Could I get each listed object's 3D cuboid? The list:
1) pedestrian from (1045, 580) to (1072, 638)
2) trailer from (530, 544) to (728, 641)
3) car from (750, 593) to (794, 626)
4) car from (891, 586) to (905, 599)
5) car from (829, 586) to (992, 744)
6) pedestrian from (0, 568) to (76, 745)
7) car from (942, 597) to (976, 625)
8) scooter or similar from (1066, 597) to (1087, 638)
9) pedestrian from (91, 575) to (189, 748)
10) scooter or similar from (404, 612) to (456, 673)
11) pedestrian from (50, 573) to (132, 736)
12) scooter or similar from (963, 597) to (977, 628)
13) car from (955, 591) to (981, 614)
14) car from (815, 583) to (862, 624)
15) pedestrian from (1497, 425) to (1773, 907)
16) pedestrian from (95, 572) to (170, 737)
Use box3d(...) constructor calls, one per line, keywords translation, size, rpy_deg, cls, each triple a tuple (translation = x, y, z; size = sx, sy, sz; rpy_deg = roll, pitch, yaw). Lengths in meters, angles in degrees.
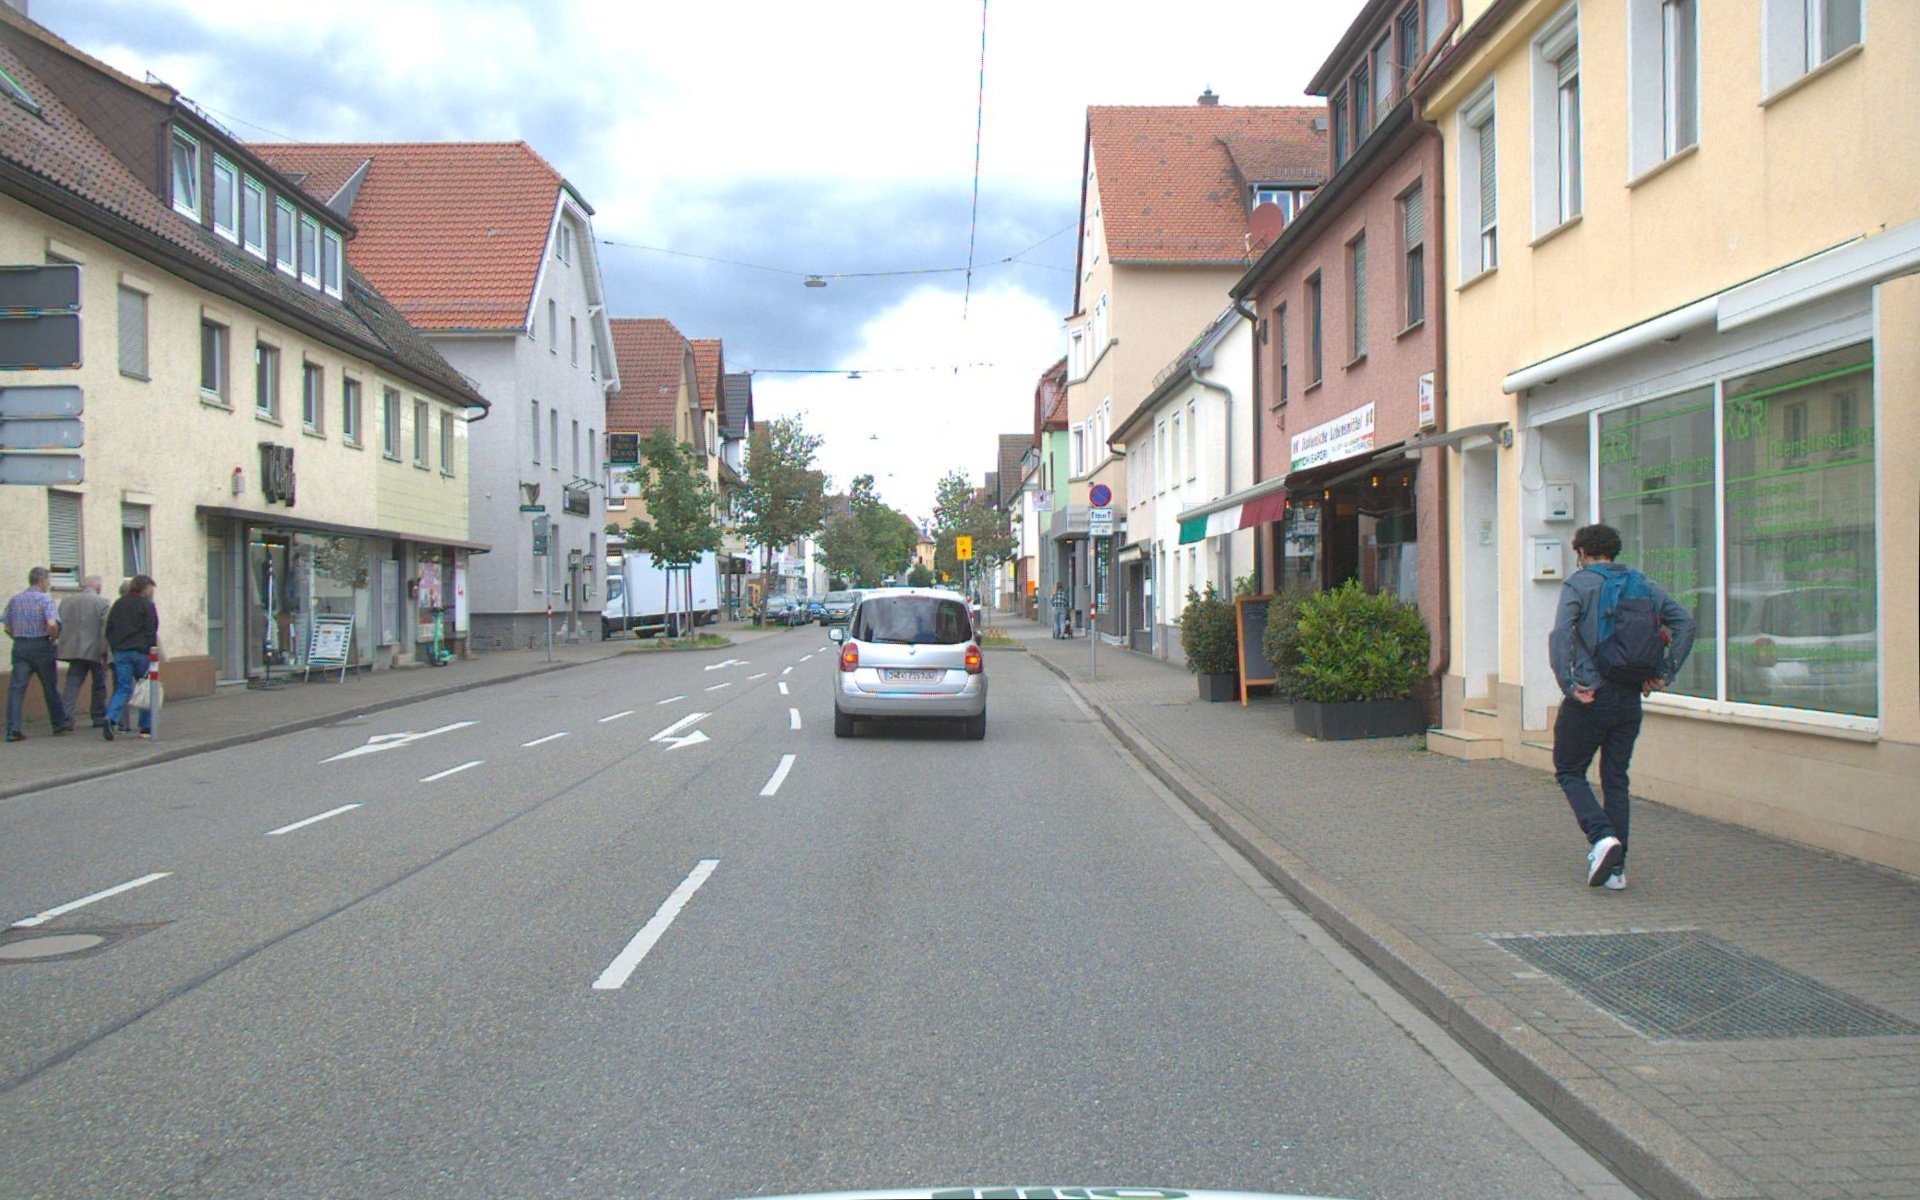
box3d(translation=(2.981, 0.266, 50.169), size=(0.735, 1.750, 0.900), rpy_deg=(0, 0, -1), cls="pedestrian")
box3d(translation=(-11.797, -0.239, 59.474), size=(2.463, 3.275, 7.102), rpy_deg=(0, 0, 38), cls="trailer")
box3d(translation=(-8.631, 0.423, 76.126), size=(1.648, 1.449, 3.930), rpy_deg=(-2, 0, -2), cls="car")
box3d(translation=(-9.148, -1.093, 244.963), size=(1.862, 1.768, 4.365), rpy_deg=(-2, 0, 0), cls="car")
box3d(translation=(-0.510, 0.658, 18.973), size=(1.648, 1.593, 3.993), rpy_deg=(1, 0, 0), cls="car")
box3d(translation=(-9.503, 0.567, 16.938), size=(0.542, 1.767, 0.648), rpy_deg=(-1, 0, -1), cls="pedestrian")
box3d(translation=(-0.037, 0.570, 89.875), size=(1.793, 1.471, 4.331), rpy_deg=(1, 0, 0), cls="car")
box3d(translation=(3.592, 0.537, 50.984), size=(0.577, 1.254, 0.891), rpy_deg=(0, 0, -2), cls="scooter or similar")
box3d(translation=(-8.619, 0.629, 17.409), size=(0.664, 1.767, 0.717), rpy_deg=(-1, 0, -1), cls="pedestrian")
box3d(translation=(-10.713, 0.839, 33.487), size=(0.517, 1.190, 1.721), rpy_deg=(0, 0, -1), cls="scooter or similar")
box3d(translation=(-9.611, 0.590, 18.308), size=(0.542, 1.767, 0.648), rpy_deg=(-1, 0, -1), cls="pedestrian")
box3d(translation=(0.401, 0.497, 66.879), size=(0.492, 1.257, 1.942), rpy_deg=(0, 0, -1), cls="scooter or similar")
box3d(translation=(0.557, 0.179, 115.312), size=(1.793, 1.524, 3.993), rpy_deg=(1, 0, 0), cls="car")
box3d(translation=(-5.763, 0.161, 78.633), size=(1.953, 1.827, 4.276), rpy_deg=(-1, 0, -1), cls="car")
box3d(translation=(3.186, 0.296, 7.912), size=(0.807, 2.110, 1.011), rpy_deg=(-3, 0, 1), cls="pedestrian")
box3d(translation=(-9.038, 0.582, 18.080), size=(0.486, 1.767, 0.648), rpy_deg=(-1, 0, -1), cls="pedestrian")
